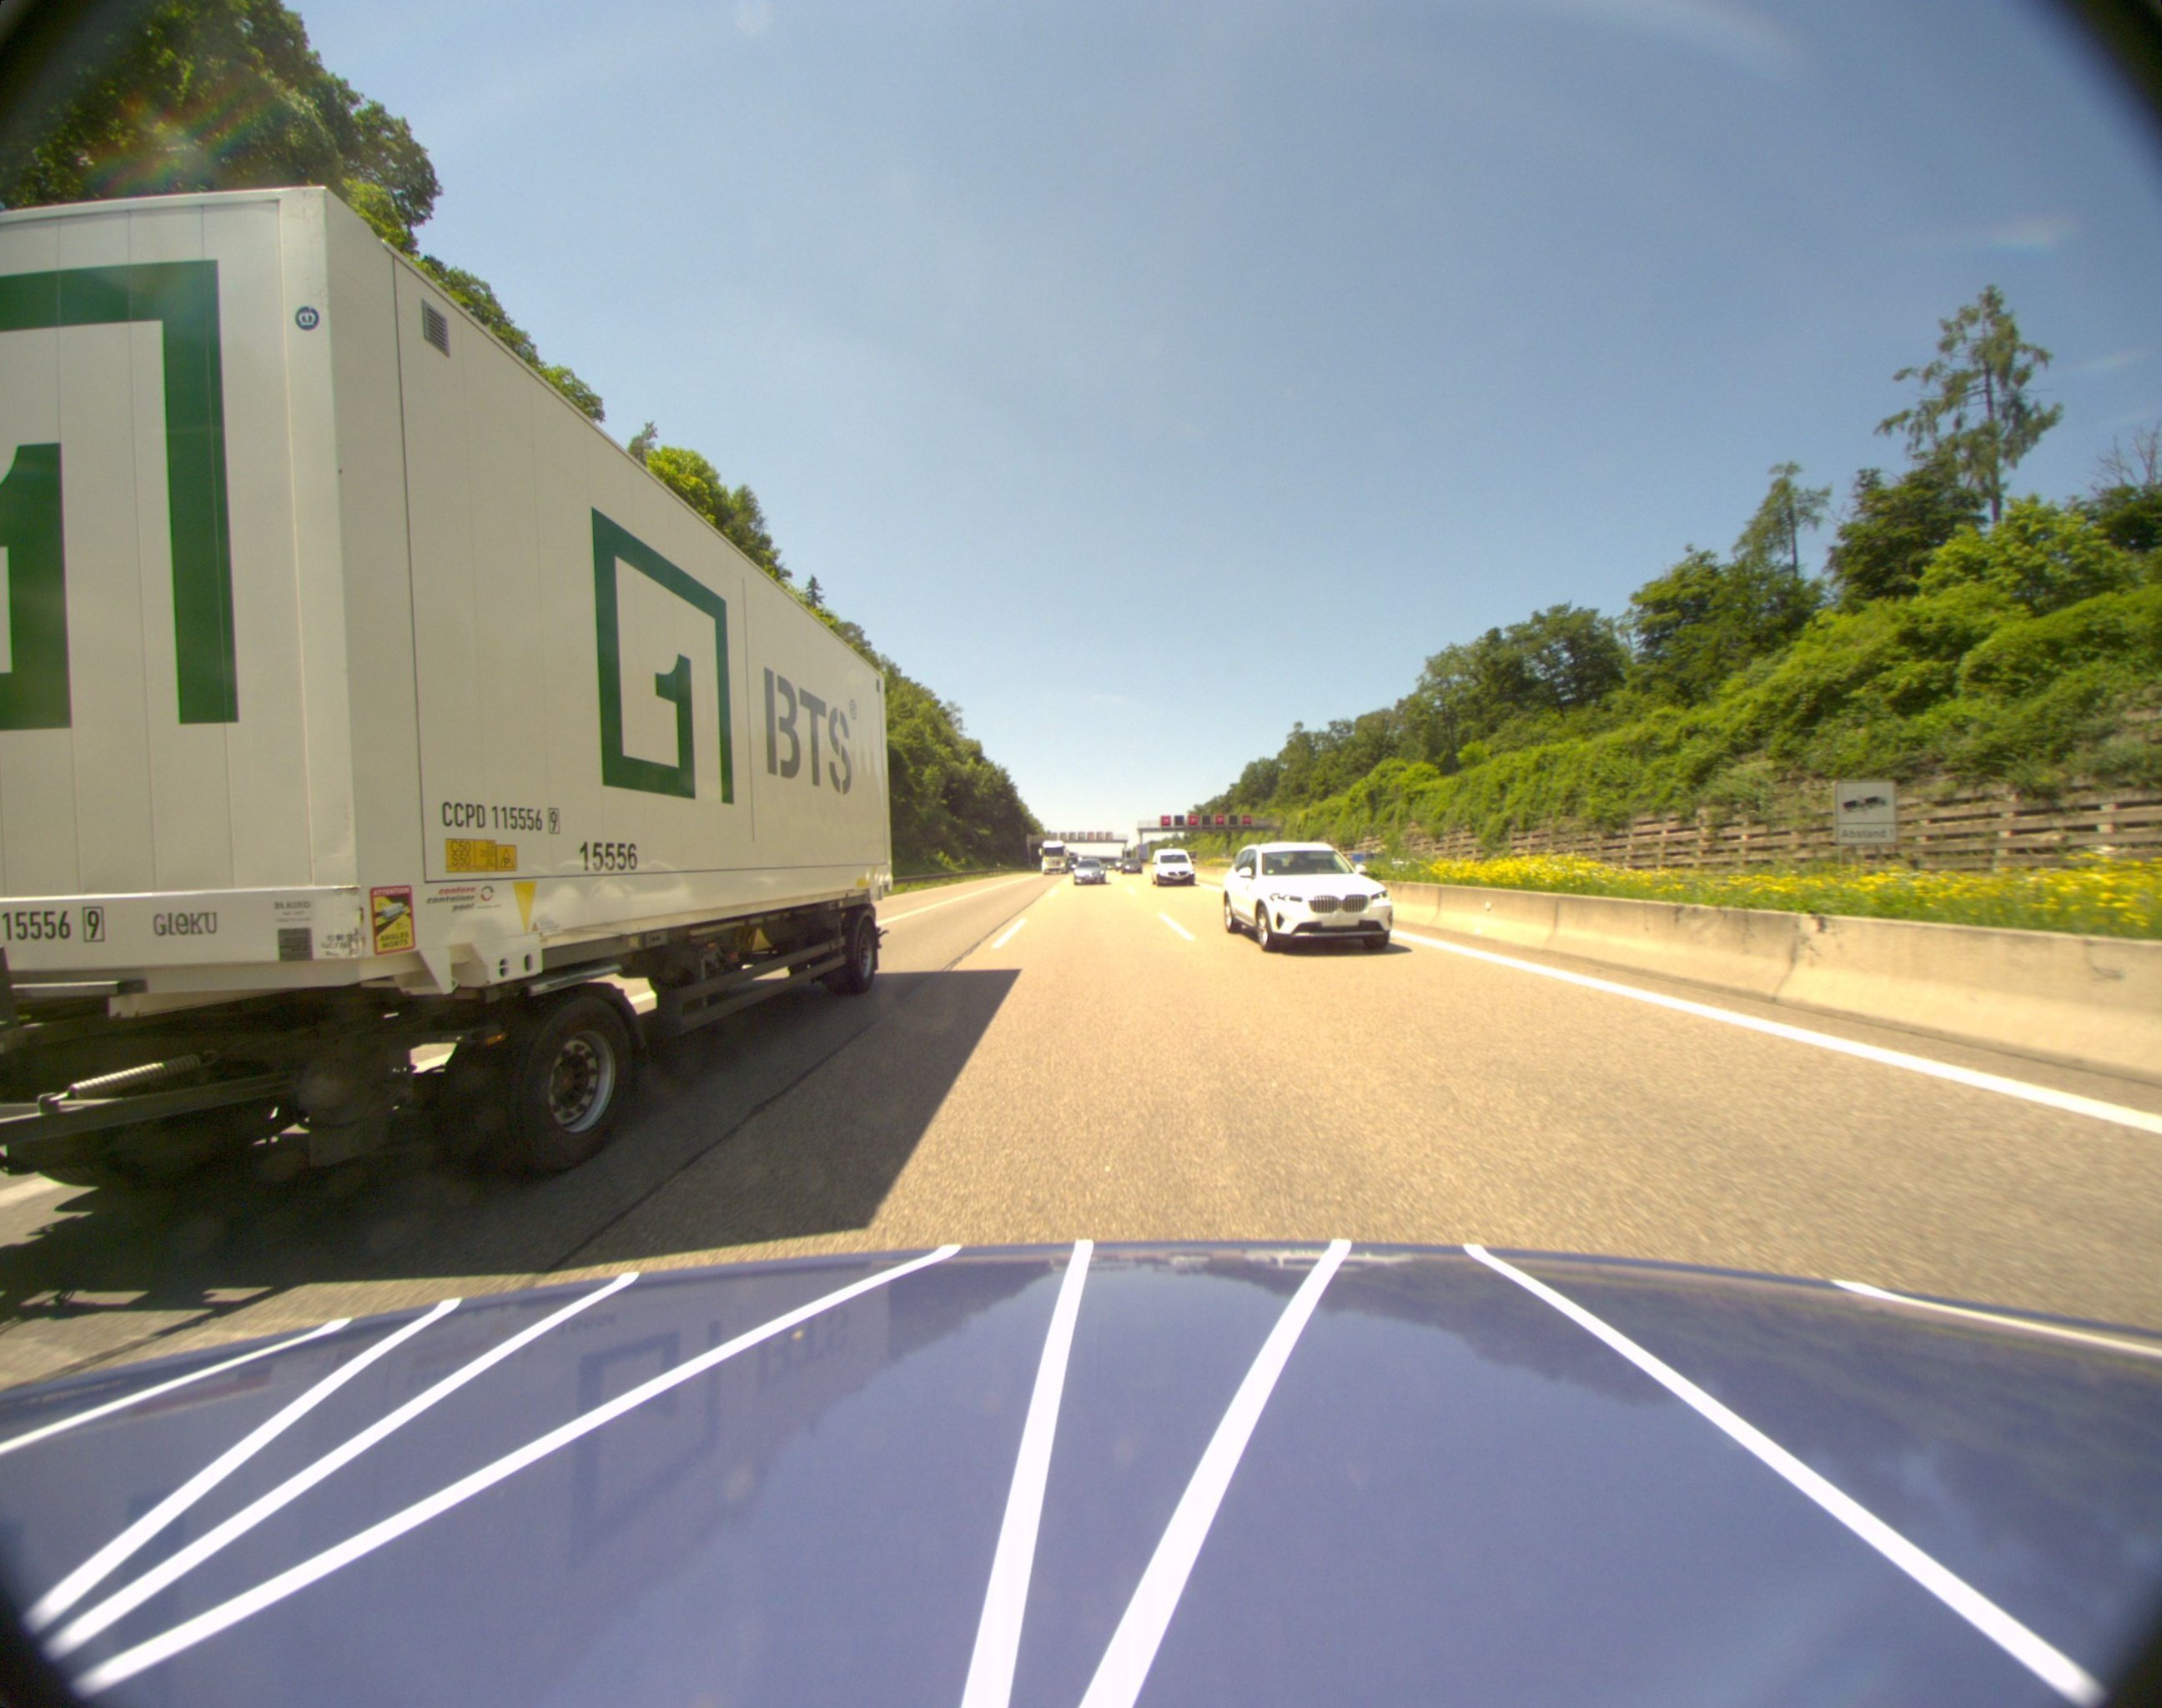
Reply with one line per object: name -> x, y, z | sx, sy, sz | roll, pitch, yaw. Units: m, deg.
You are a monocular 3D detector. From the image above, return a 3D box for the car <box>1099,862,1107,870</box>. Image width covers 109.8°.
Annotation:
car -> 5.919, 3.250, 205.609 | 1.924, 1.848, 4.001 | -3, -1, 2

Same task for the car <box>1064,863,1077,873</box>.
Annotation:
car -> -1.621, 2.095, 115.450 | 1.770, 1.504, 4.000 | -3, -1, 0

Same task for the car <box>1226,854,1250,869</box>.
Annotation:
car -> 16.376, 0.728, 79.299 | 1.792, 1.513, 4.204 | -1, 0, 2

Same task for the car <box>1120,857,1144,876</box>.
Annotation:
car -> 4.608, 1.116, 68.953 | 1.770, 1.504, 4.726 | -3, -1, 0

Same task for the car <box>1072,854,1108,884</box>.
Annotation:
car -> 0.576, 0.847, 43.566 | 1.843, 1.517, 4.502 | -3, -1, 2

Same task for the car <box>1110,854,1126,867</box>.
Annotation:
car -> 4.572, 0.778, 93.879 | 1.770, 1.504, 4.000 | -3, -1, 0

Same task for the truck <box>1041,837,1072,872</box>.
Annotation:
truck -> -2.707, 0.116, 87.221 | 2.844, 3.517, 13.089 | -3, -1, 0

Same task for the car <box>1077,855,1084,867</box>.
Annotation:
car -> -0.098, 2.121, 233.443 | 1.924, 3.522, 4.825 | -3, -1, 2

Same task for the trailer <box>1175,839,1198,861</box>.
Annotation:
trailer -> 21.314, -0.707, 154.200 | 2.687, 3.991, 14.190 | -1, -1, 0

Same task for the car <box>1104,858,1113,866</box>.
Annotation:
car -> 6.412, 1.899, 177.555 | 1.924, 1.848, 4.001 | -3, -1, 2

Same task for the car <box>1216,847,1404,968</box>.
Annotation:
car -> 3.615, 0.744, 12.877 | 1.850, 1.634, 4.368 | -2, 0, 0

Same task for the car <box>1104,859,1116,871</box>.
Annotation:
car -> 4.865, 1.906, 127.562 | 1.924, 1.848, 4.001 | -3, -1, 2

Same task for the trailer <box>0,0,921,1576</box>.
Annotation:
trailer -> -3.883, -0.292, 6.478 | 2.687, 4.151, 10.066 | -2, -1, 0

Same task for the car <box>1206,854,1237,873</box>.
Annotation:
car -> 12.046, 0.782, 65.279 | 1.793, 1.513, 4.202 | -1, 0, -1

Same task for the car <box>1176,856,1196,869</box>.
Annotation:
car -> 12.682, 1.042, 92.125 | 1.942, 1.513, 4.204 | -1, 0, 2

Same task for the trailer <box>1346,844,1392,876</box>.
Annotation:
trailer -> 19.773, 0.402, 52.279 | 1.900, 2.104, 3.495 | -1, 0, 2

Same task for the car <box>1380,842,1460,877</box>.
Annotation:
car -> 15.740, 0.233, 35.511 | 1.942, 1.513, 4.204 | -1, 0, 2

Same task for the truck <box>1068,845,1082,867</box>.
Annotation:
truck -> -1.164, 0.454, 162.921 | 2.627, 4.364, 13.089 | -3, -1, 0

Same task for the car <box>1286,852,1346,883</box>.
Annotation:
car -> 12.158, 0.665, 39.546 | 1.792, 1.513, 4.203 | -1, 0, 0

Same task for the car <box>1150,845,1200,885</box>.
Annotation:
car -> 4.582, 0.536, 37.765 | 1.998, 1.764, 4.502 | -3, -1, 2
